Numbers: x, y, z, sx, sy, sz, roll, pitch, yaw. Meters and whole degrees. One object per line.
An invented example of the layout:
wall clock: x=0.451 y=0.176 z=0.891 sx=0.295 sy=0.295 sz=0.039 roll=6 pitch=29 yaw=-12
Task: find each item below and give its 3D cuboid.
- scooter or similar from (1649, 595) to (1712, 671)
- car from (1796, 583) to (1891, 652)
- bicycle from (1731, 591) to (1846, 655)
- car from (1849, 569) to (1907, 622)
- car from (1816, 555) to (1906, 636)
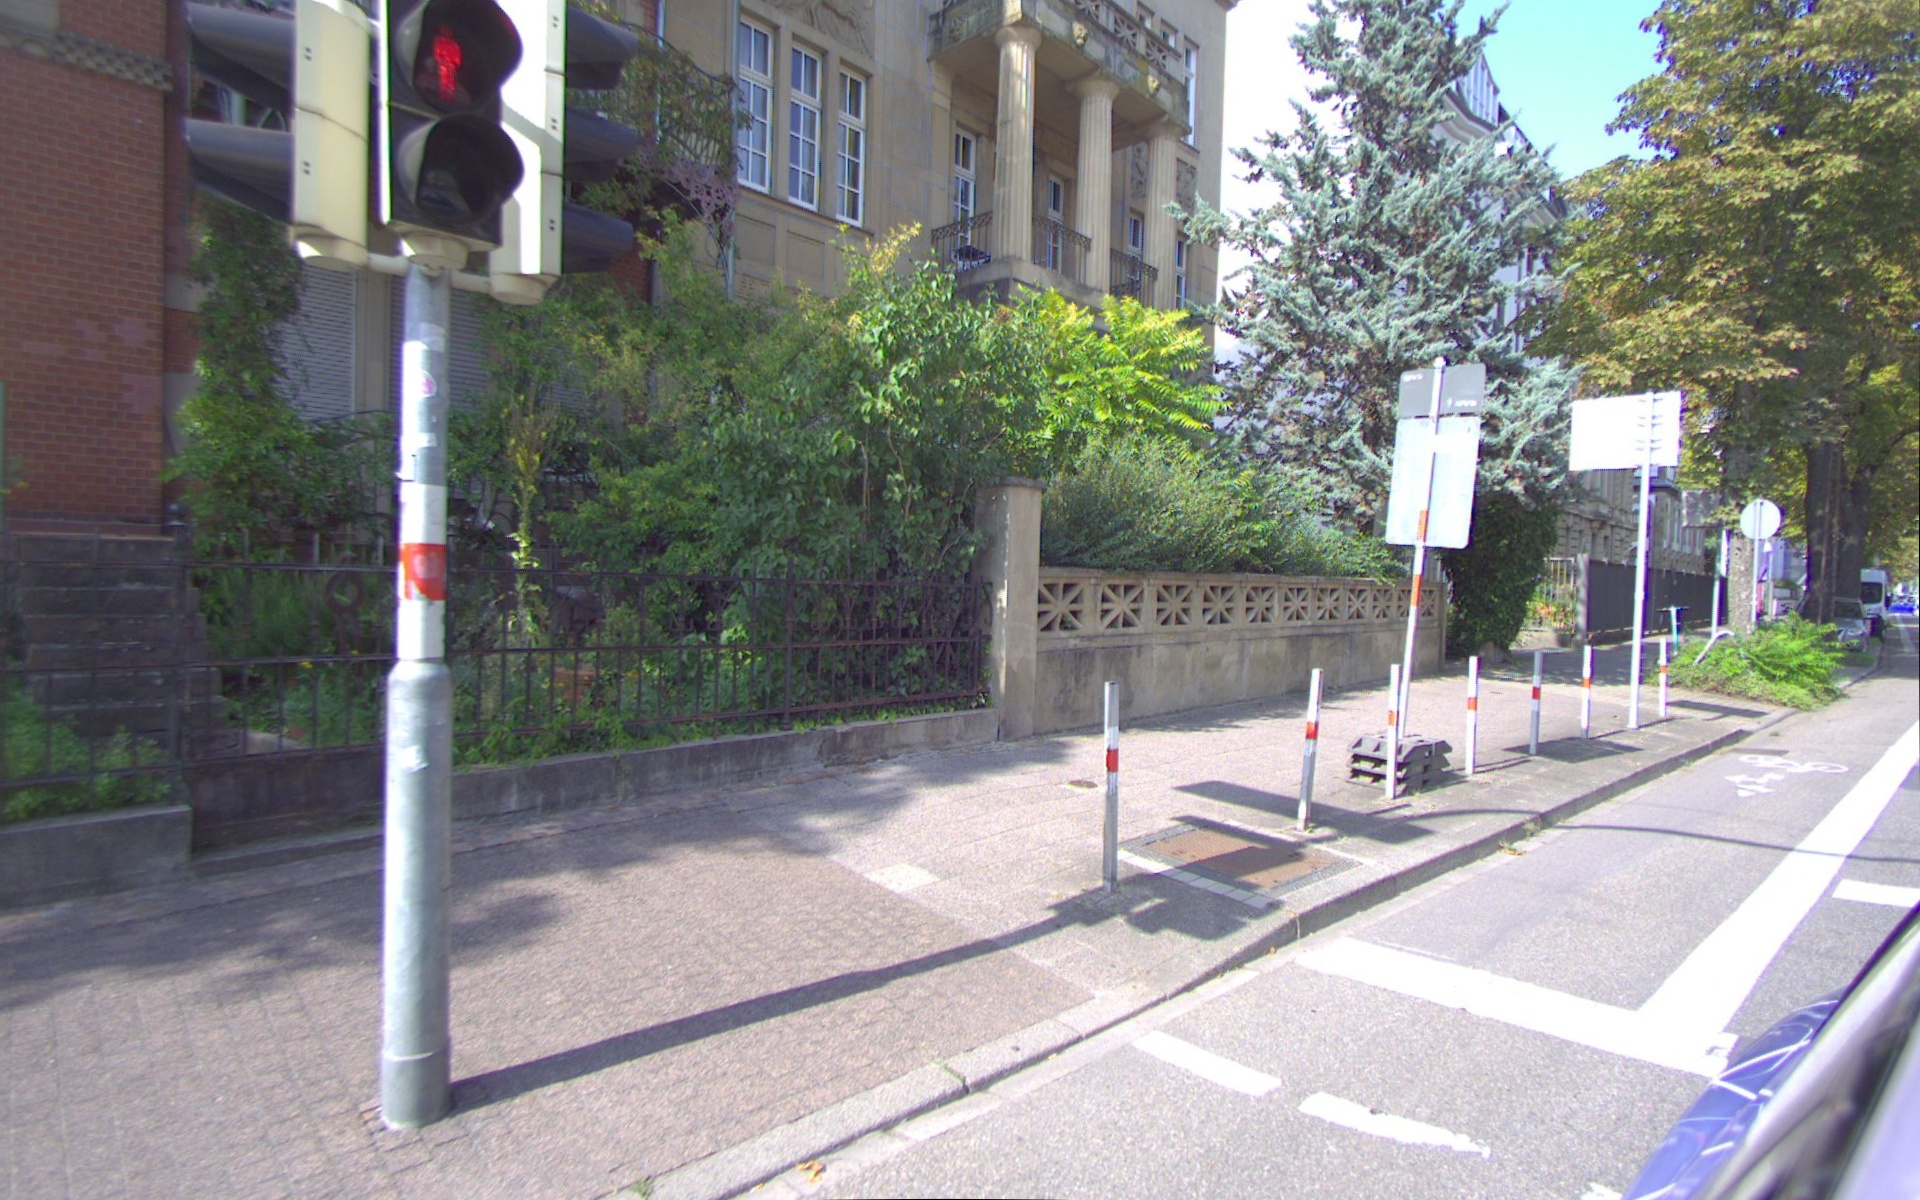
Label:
scooter or similar: x=12.209 y=0.539 z=17.142 sx=1.016 sy=1.211 sz=0.559 roll=0 pitch=5 yaw=-41
car: x=23.368 y=0.401 z=26.704 sx=1.608 sy=1.542 sz=4.289 roll=7 pitch=5 yaw=43
bicycle: x=17.707 y=0.483 z=21.660 sx=1.809 sy=1.179 sz=0.505 roll=4 pitch=7 yaw=4
car: x=49.466 y=-0.257 z=54.485 sx=1.995 sy=2.571 sz=5.774 roll=5 pitch=4 yaw=44
car: x=31.320 y=-0.192 z=35.091 sx=2.047 sy=2.529 sz=6.131 roll=4 pitch=3 yaw=43
